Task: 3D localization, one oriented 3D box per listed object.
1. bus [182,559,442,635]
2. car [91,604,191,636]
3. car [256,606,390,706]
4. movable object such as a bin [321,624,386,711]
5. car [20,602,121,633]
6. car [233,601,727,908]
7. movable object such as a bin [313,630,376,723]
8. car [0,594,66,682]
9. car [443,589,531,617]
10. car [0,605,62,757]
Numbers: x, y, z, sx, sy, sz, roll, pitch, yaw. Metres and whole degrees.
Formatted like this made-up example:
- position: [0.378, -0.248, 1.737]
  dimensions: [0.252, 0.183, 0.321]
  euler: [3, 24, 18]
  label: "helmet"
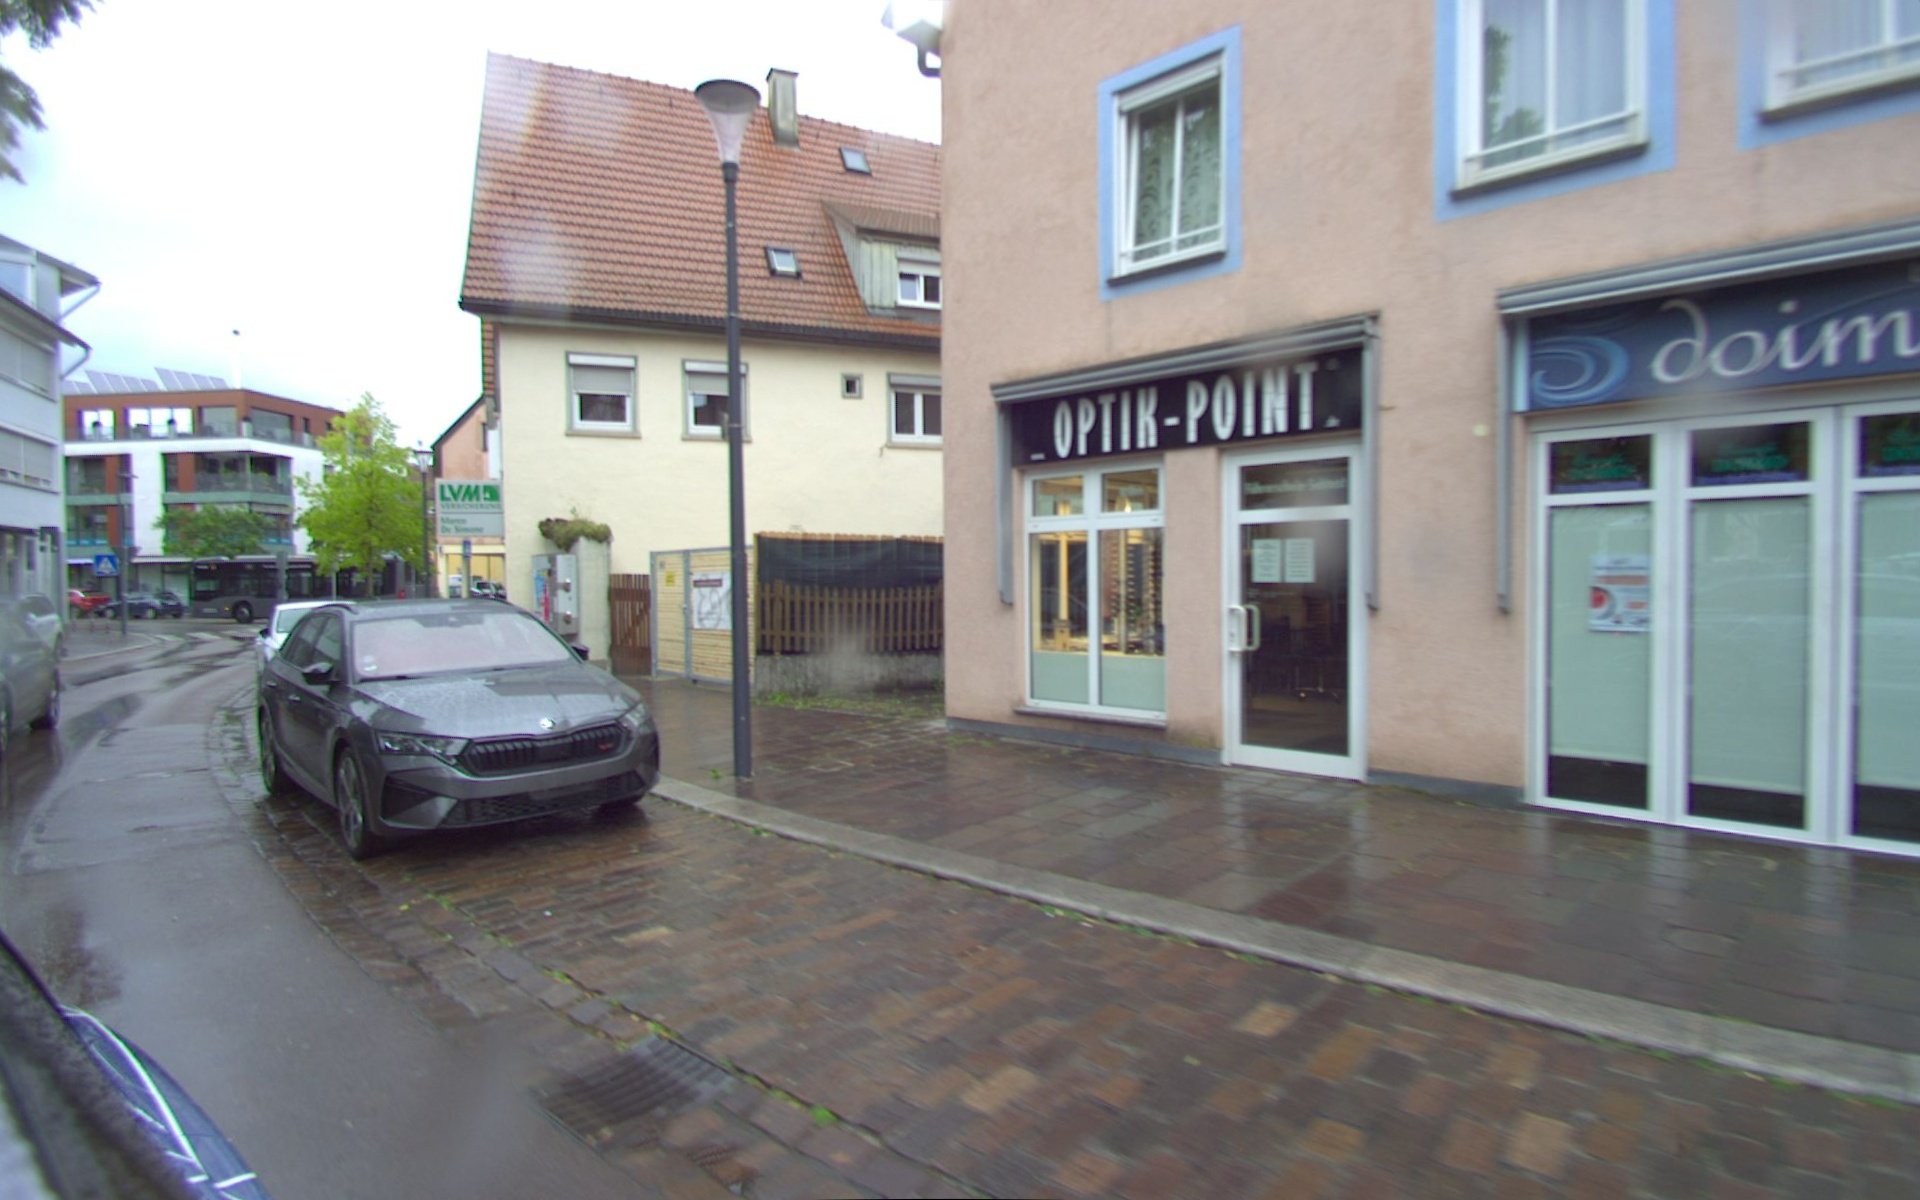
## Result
- position: [-29.617, -0.161, 46.430]
  dimensions: [10.554, 3.325, 2.677]
  euler: [0, 0, 4]
  label: "bus"
- position: [-42.916, 1.019, 53.085]
  dimensions: [3.945, 1.586, 1.719]
  euler: [0, 0, 1]
  label: "car"
- position: [-10.504, 0.817, 16.570]
  dimensions: [1.667, 1.433, 3.826]
  euler: [0, -1, -35]
  label: "car"
- position: [-8.186, 0.897, 13.662]
  dimensions: [0.682, 1.095, 0.548]
  euler: [-2, 2, -35]
  label: "movable object such as a bin"
- position: [-47.502, 0.941, 54.111]
  dimensions: [3.945, 1.586, 1.719]
  euler: [0, 0, 1]
  label: "car"
- position: [-3.662, 0.760, 7.243]
  dimensions: [1.970, 1.465, 4.379]
  euler: [0, 0, -43]
  label: "car"
- position: [-7.877, 0.958, 12.952]
  dimensions: [0.650, 1.117, 0.625]
  euler: [0, 0, -35]
  label: "movable object such as a bin"
- position: [-20.413, 0.735, 21.258]
  dimensions: [1.666, 1.702, 4.291]
  euler: [0, 0, -31]
  label: "car"
- position: [-25.984, 0.147, 55.722]
  dimensions: [3.937, 1.497, 2.003]
  euler: [0, 0, -7]
  label: "car"
- position: [-10.373, 0.779, 9.754]
  dimensions: [1.967, 1.417, 4.906]
  euler: [-1, 0, -35]
  label: "car"
